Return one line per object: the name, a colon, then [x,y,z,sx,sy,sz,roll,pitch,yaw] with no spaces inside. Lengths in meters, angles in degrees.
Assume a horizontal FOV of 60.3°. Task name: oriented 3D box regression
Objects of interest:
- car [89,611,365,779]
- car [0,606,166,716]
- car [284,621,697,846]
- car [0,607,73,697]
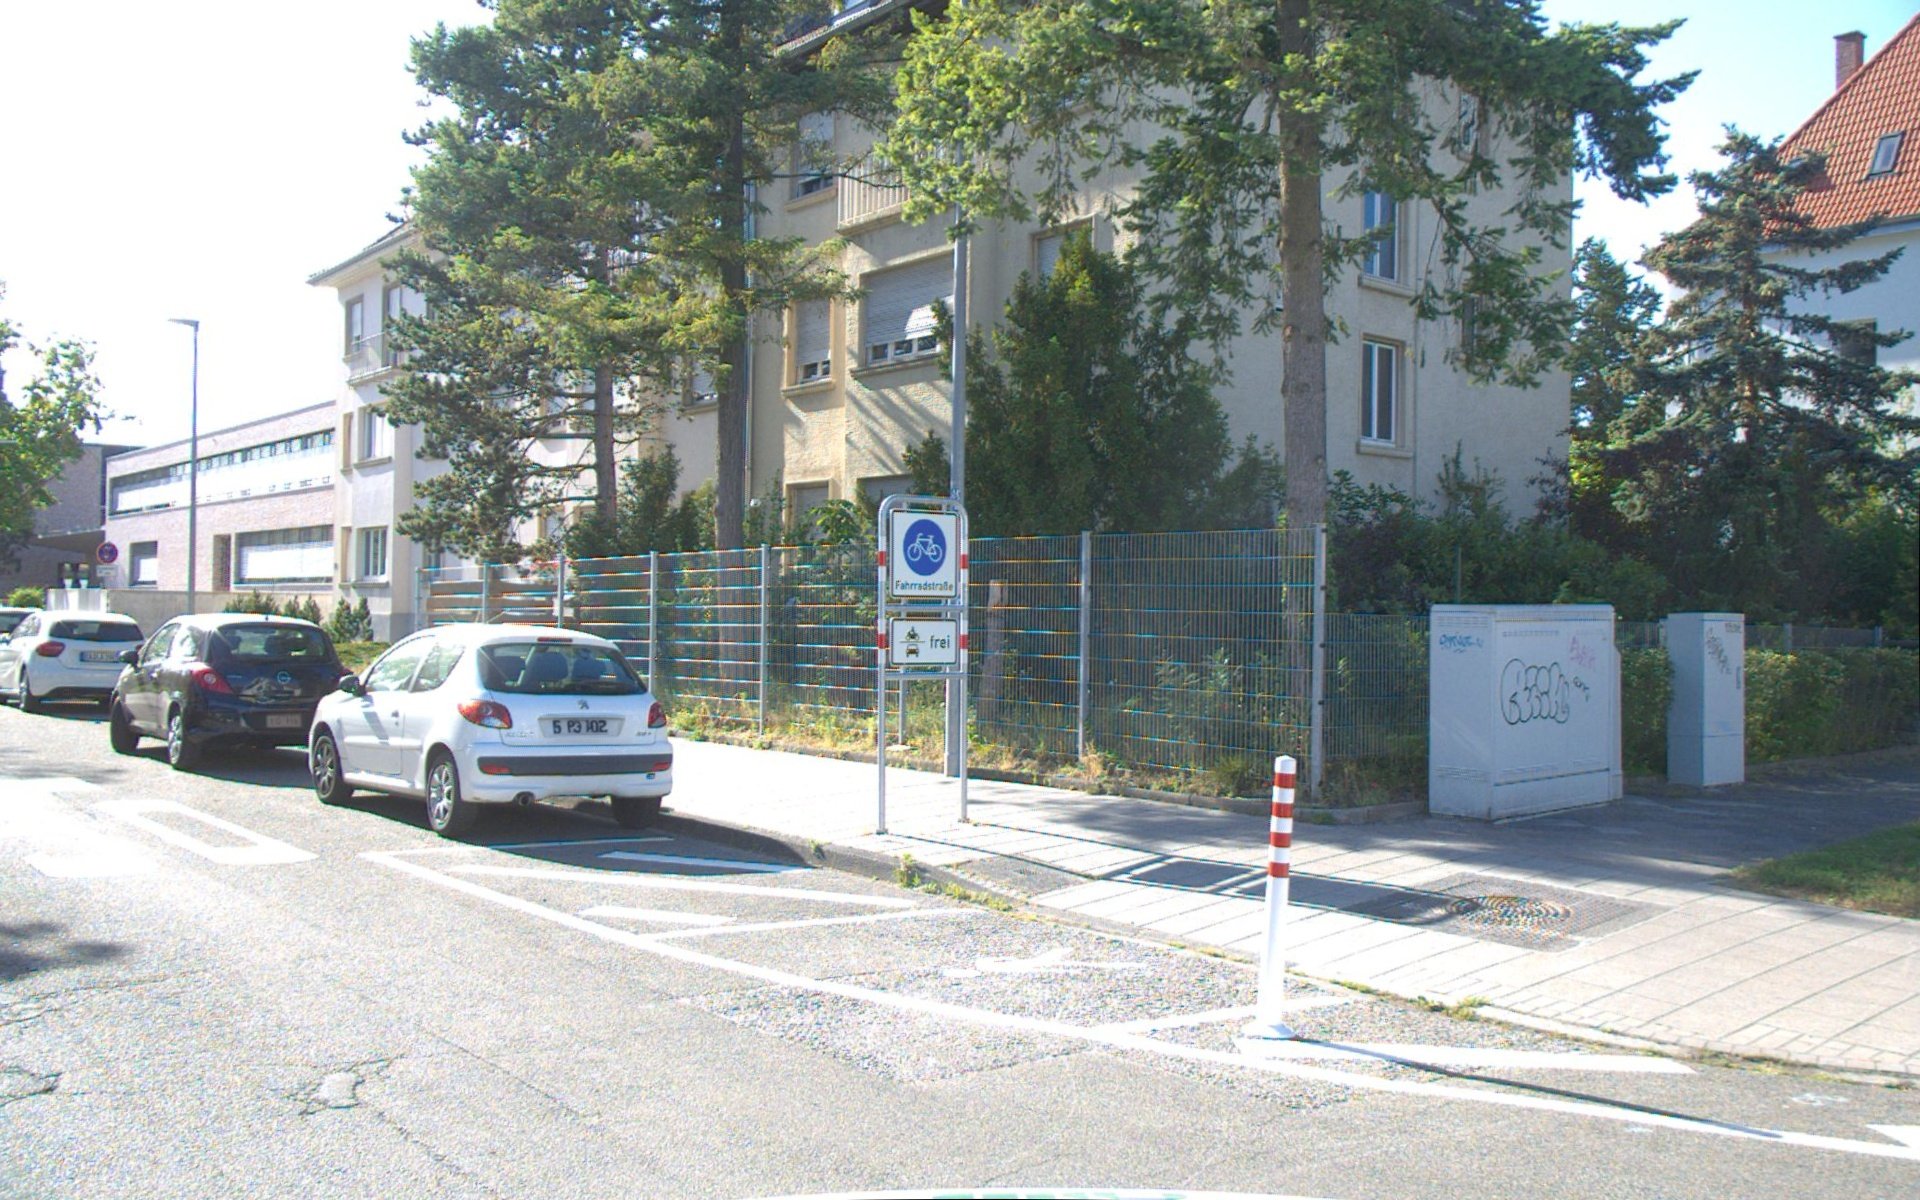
car: [-7.636,0.900,17.055,1.660,1.521,3.772,2,-2,-39]
car: [-13.551,0.880,25.149,1.783,1.521,3.944,2,-2,-39]
car: [-3.705,0.906,12.678,1.690,1.423,3.722,2,-2,-39]
car: [-17.518,0.888,29.710,1.787,1.521,3.935,3,-2,-44]
